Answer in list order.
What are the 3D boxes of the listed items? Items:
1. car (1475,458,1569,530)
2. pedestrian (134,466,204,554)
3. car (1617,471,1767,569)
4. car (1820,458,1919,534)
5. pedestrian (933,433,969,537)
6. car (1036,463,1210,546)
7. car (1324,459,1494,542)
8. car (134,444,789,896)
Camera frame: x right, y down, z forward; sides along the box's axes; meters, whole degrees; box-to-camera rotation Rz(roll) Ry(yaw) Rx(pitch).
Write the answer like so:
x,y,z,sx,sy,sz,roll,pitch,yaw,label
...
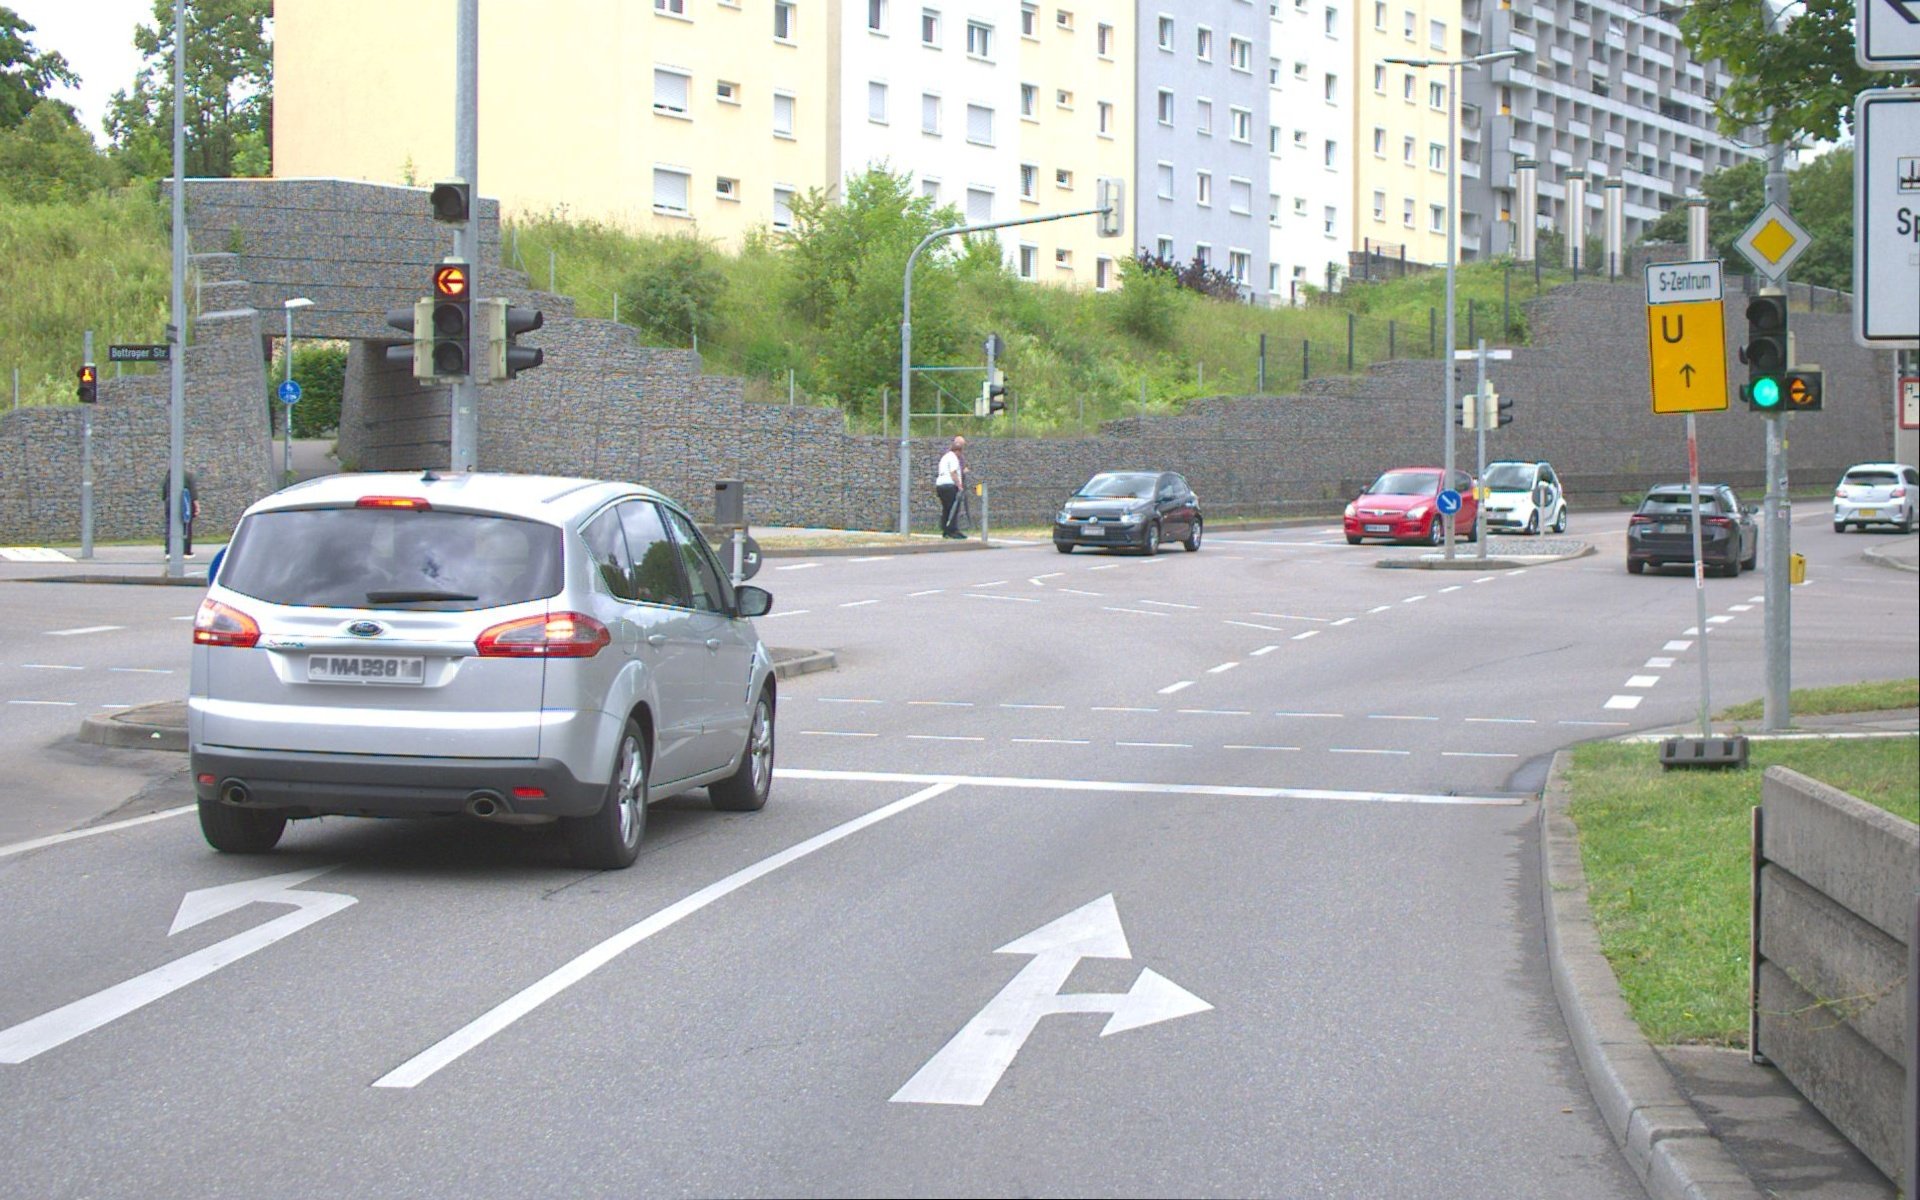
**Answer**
x,y,z,sx,sy,sz,roll,pitch,yaw,label
11.891,-2.224,72.713,1.161,1.361,2.501,5,2,27,car
-11.664,-1.333,50.718,0.910,1.219,0.729,4,2,-12,pedestrian
11.917,-1.284,55.793,1.901,1.461,3.997,3,2,18,car
20.090,-2.256,75.203,1.996,1.612,3.996,1,1,21,car
-0.166,-2.079,62.291,0.604,1.856,0.597,1,2,0,pedestrian
2.879,-1.649,59.813,1.857,1.356,3.996,2,2,21,car
8.758,-1.939,66.783,1.844,1.449,3.994,5,4,29,car
-2.063,0.231,15.385,1.830,1.700,3.868,2,1,8,car
